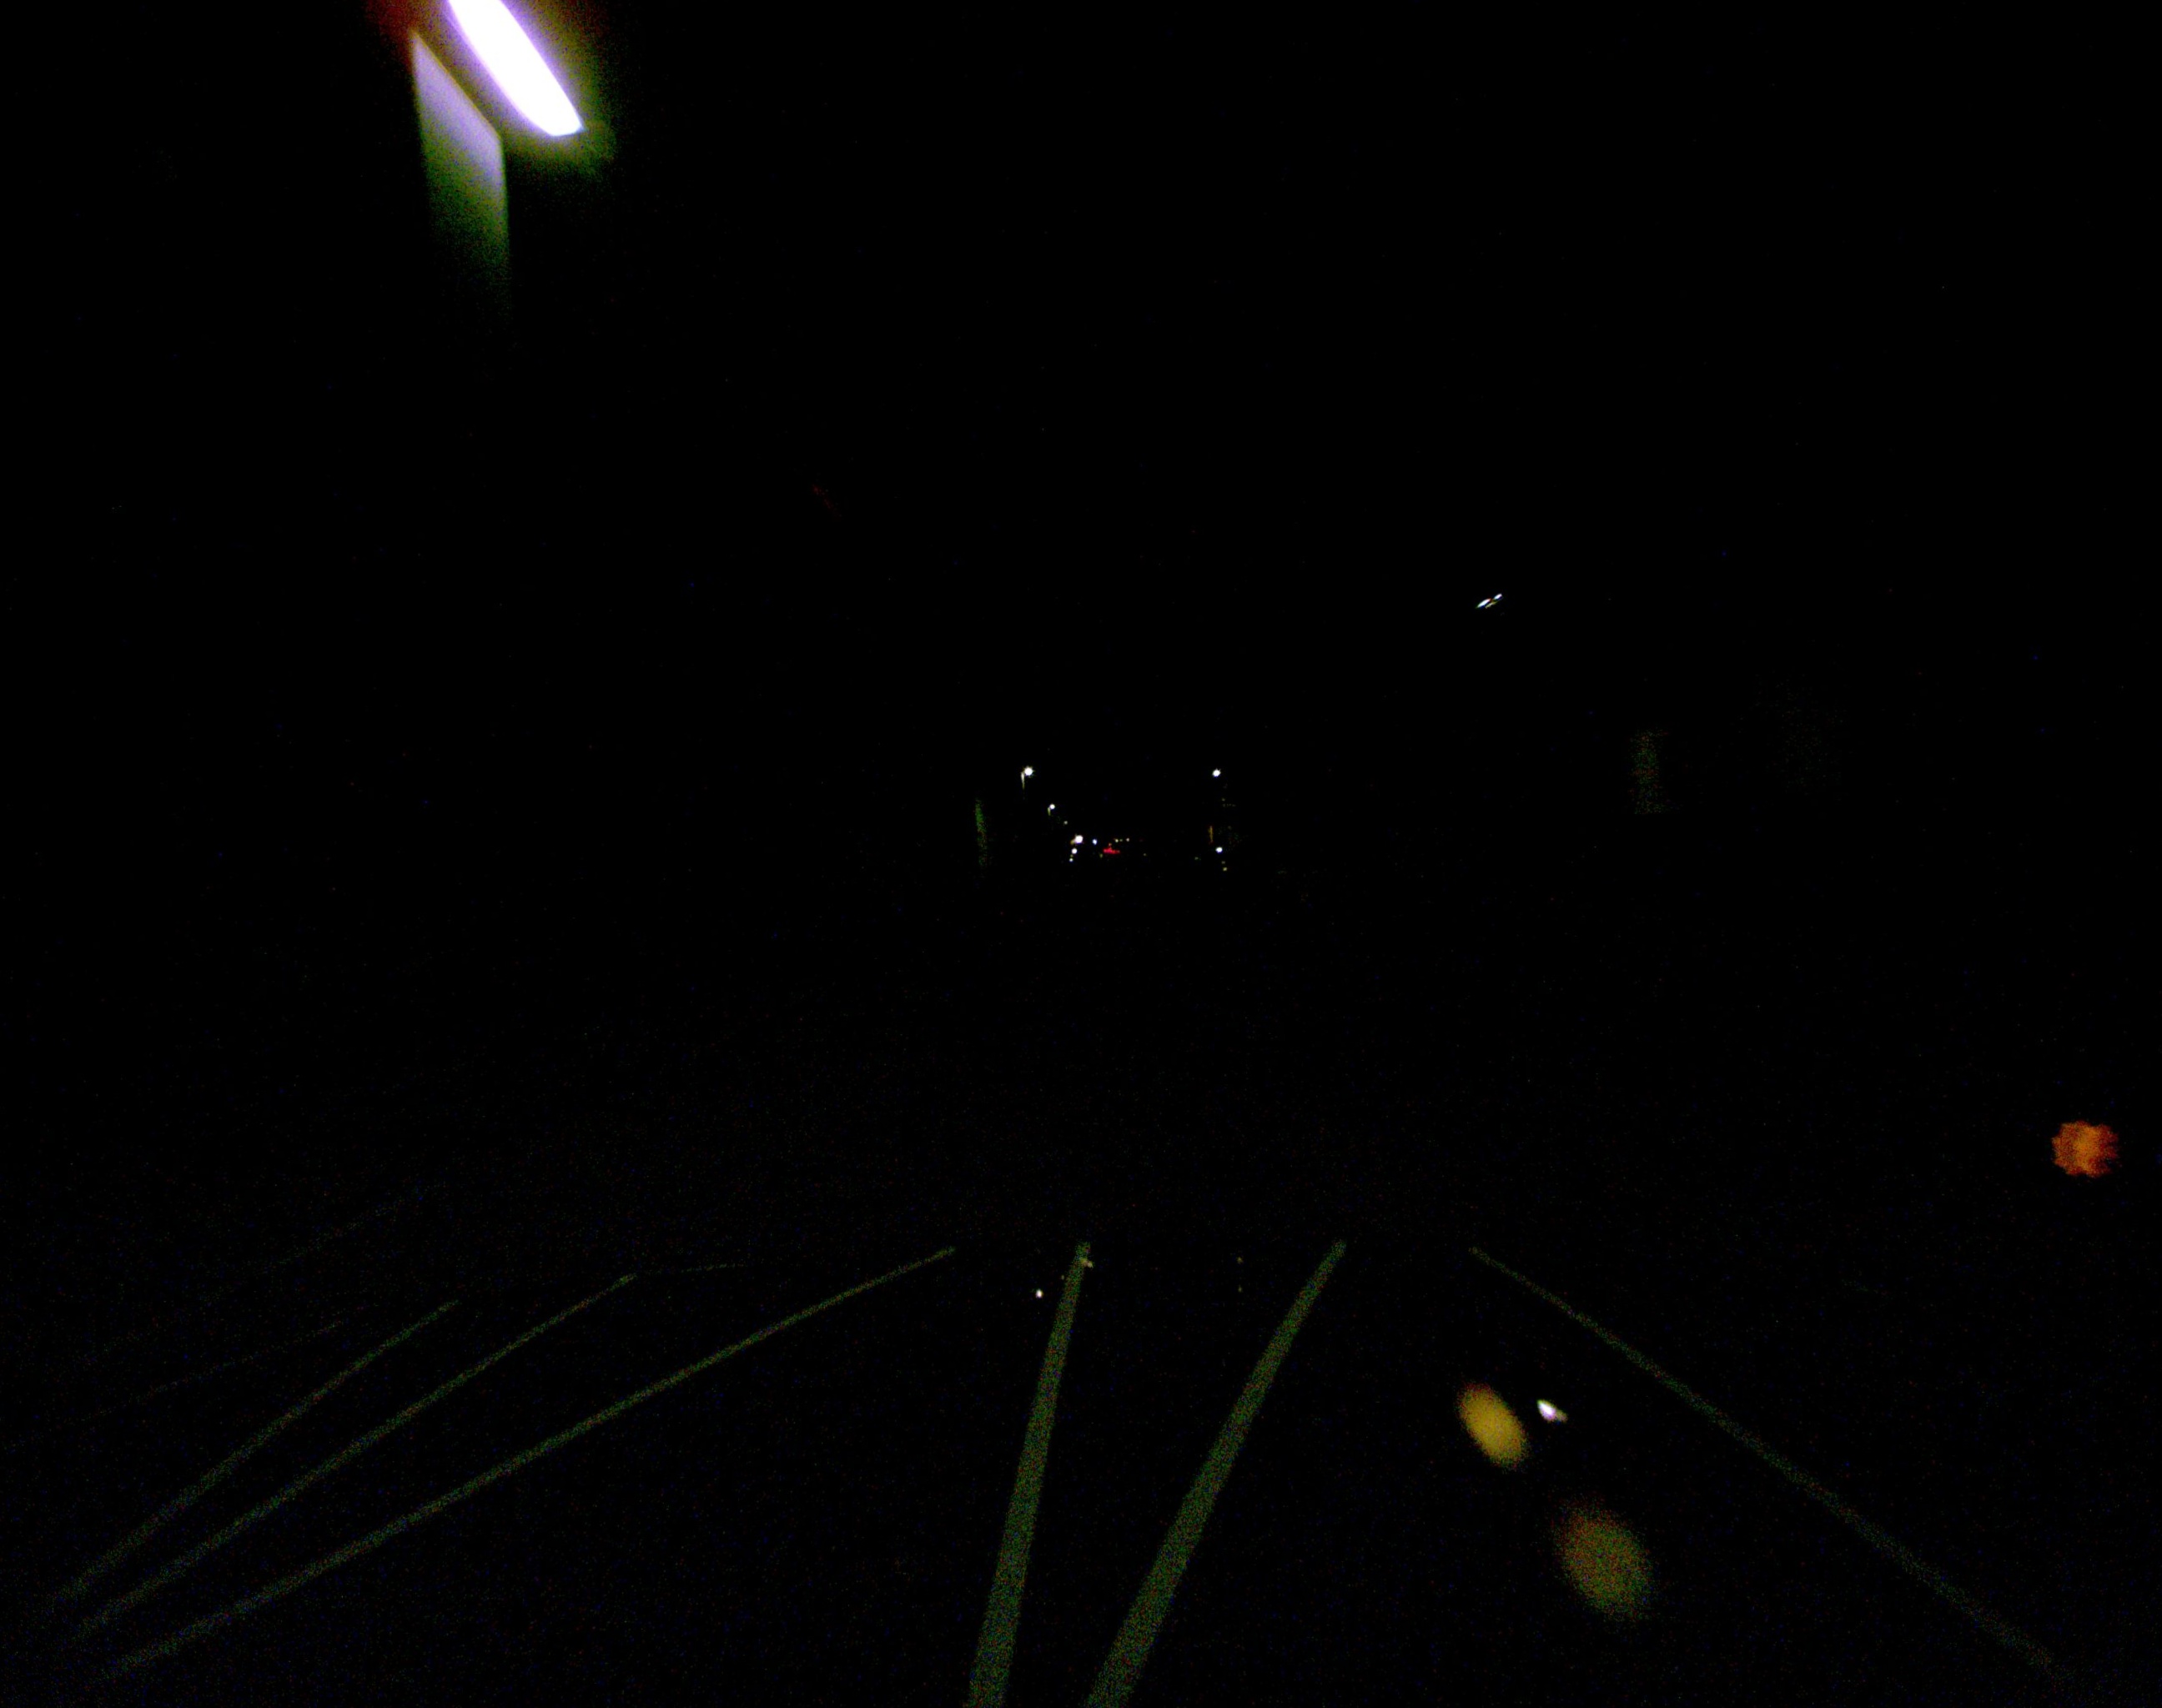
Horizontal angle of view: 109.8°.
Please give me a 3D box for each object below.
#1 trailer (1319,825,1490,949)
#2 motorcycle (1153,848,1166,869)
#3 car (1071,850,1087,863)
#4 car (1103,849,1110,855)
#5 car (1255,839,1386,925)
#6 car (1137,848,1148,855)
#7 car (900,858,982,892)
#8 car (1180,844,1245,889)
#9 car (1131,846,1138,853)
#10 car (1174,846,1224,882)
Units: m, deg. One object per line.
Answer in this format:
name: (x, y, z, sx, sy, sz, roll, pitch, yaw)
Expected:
trailer: (5.240, 0.462, 12.757, 1.451, 1.678, 3.426, -5, 0, 3)
motorcycle: (5.593, 0.308, 53.887, 0.747, 1.444, 2.197, -2, 1, 9)
car: (-0.214, 0.293, 97.970, 1.747, 1.560, 4.209, -2, 0, 2)
car: (6.748, -0.454, 200.390, 1.606, 1.474, 3.699, -2, 1, 1)
car: (4.911, 0.527, 16.002, 1.675, 1.513, 2.978, -5, 1, -1)
car: (12.276, -0.501, 151.454, 1.900, 1.411, 4.931, -4, 0, 4)
car: (-7.065, 1.039, 38.679, 3.720, 1.464, 1.730, -3, 1, 4)
car: (5.072, 0.442, 29.800, 1.771, 1.510, 4.278, -4, 0, 1)
car: (14.460, -1.203, 205.547, 1.814, 1.637, 3.804, -4, 0, 3)
car: (5.405, 0.431, 35.335, 1.692, 1.501, 4.278, -3, 0, 1)
